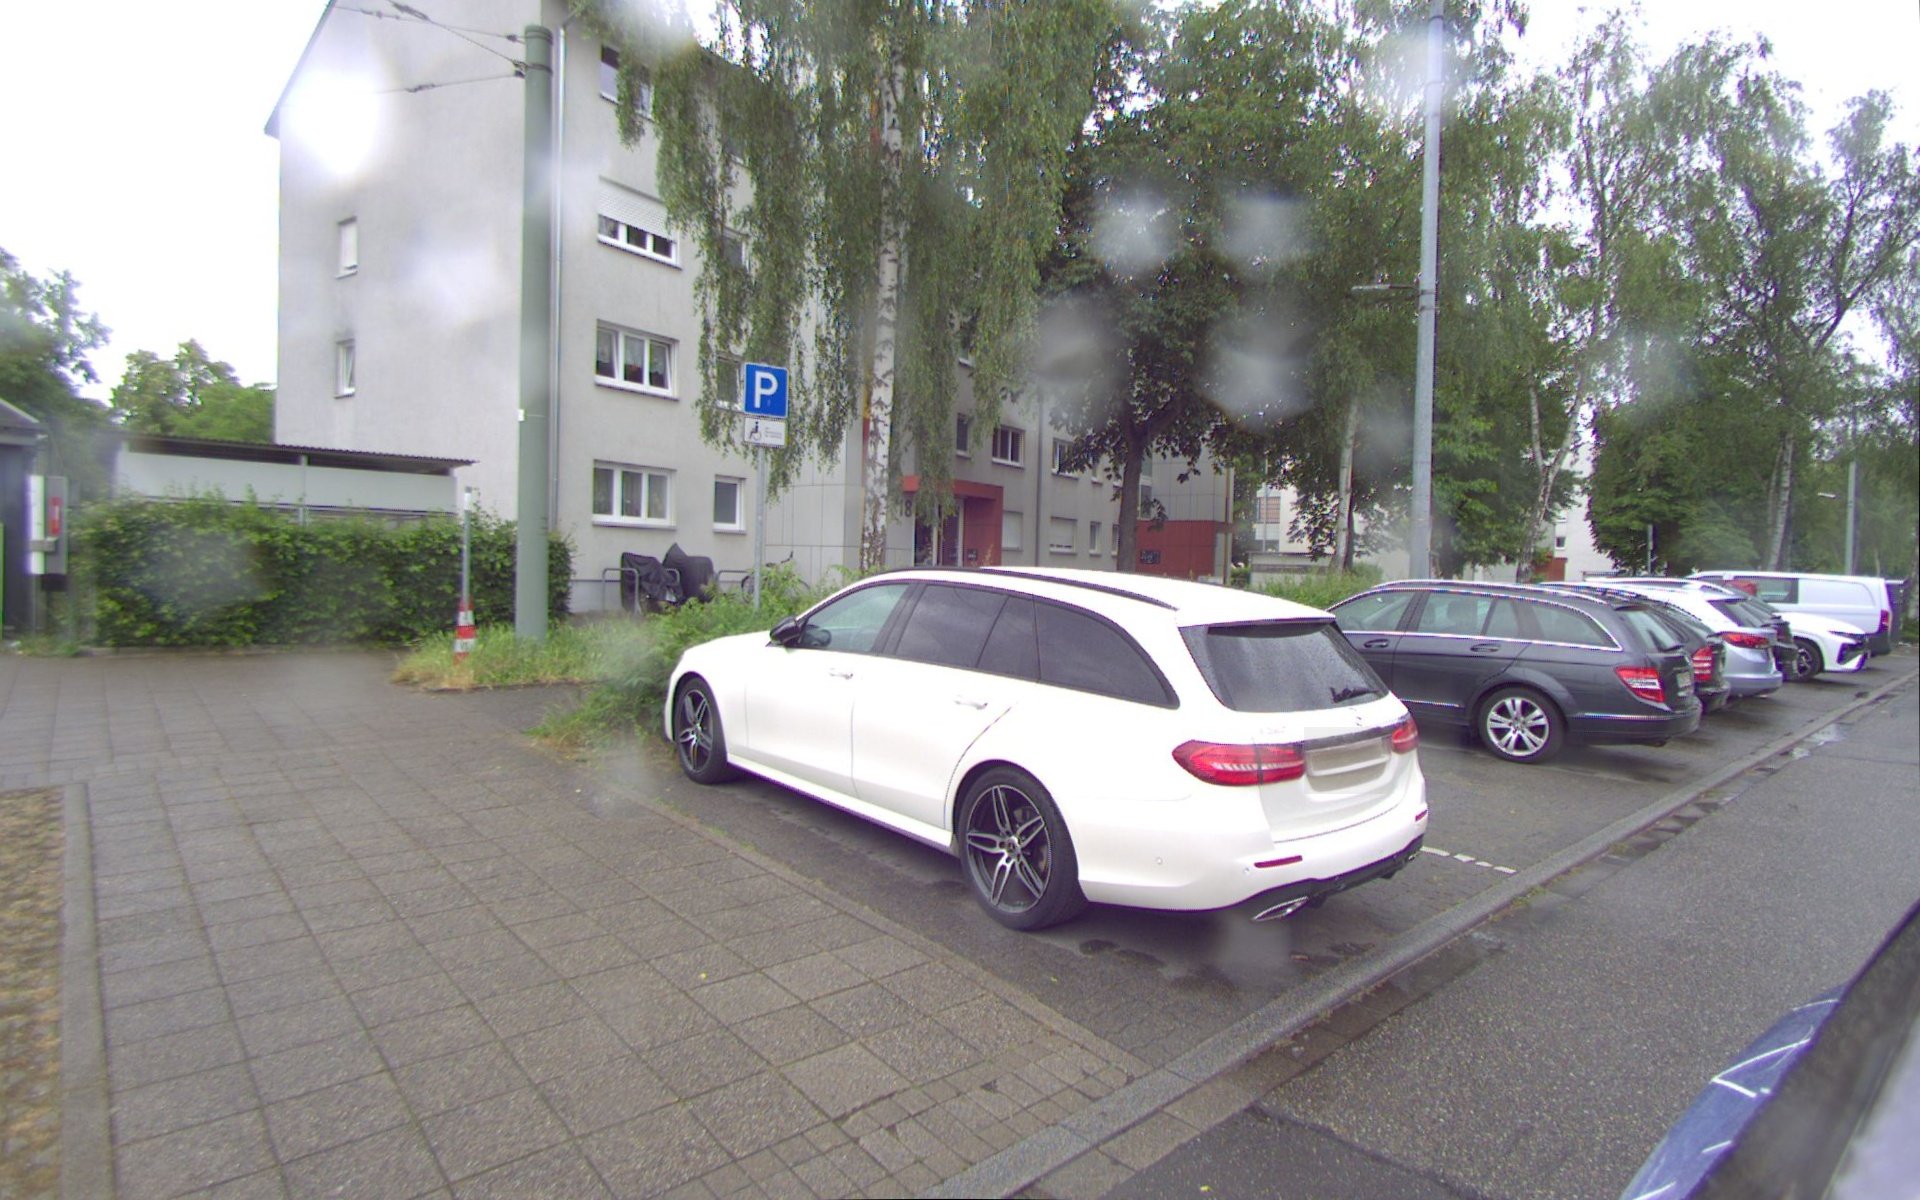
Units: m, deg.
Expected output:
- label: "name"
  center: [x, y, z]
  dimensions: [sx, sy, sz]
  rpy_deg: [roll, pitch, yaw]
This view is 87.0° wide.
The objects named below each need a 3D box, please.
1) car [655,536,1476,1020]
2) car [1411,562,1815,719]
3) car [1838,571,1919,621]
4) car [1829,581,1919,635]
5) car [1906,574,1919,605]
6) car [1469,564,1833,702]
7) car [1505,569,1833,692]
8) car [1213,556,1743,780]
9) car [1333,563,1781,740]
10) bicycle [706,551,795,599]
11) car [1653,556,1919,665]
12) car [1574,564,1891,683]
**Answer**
- label: "car"
  center: [0.083, 0.473, 5.610]
  dimensions: [1.651, 1.456, 4.622]
  rpy_deg: [-1, 5, -41]
- label: "car"
  center: [8.238, 0.376, 13.050]
  dimensions: [1.653, 1.514, 4.044]
  rpy_deg: [-1, 5, -43]
- label: "car"
  center: [37.778, -0.179, 40.269]
  dimensions: [1.866, 1.937, 3.998]
  rpy_deg: [-1, 0, -36]
- label: "car"
  center: [34.443, 0.274, 36.825]
  dimensions: [1.866, 1.937, 3.998]
  rpy_deg: [-1, 0, -36]
- label: "car"
  center: [53.218, -0.578, 53.819]
  dimensions: [1.866, 1.701, 3.998]
  rpy_deg: [-1, 1, -36]
- label: "car"
  center: [9.869, 0.347, 14.695]
  dimensions: [1.653, 1.514, 4.044]
  rpy_deg: [-1, 5, -43]
- label: "car"
  center: [11.321, 0.382, 16.374]
  dimensions: [1.653, 1.514, 4.044]
  rpy_deg: [-1, 5, -43]
- label: "car"
  center: [4.610, 0.427, 9.476]
  dimensions: [1.653, 1.456, 4.044]
  rpy_deg: [-1, 5, -43]
- label: "car"
  center: [6.606, 0.417, 11.547]
  dimensions: [1.653, 1.456, 4.044]
  rpy_deg: [-1, 5, -43]
- label: "bicycle"
  center: [-4.523, -0.529, 21.974]
  dimensions: [0.701, 1.005, 1.918]
  rpy_deg: [0, 0, 37]
- label: "car"
  center: [17.549, 0.137, 21.668]
  dimensions: [4.172, 1.888, 1.654]
  rpy_deg: [7, 5, 43]
- label: "car"
  center: [13.697, 0.313, 18.175]
  dimensions: [1.651, 1.637, 4.181]
  rpy_deg: [0, 5, -40]
